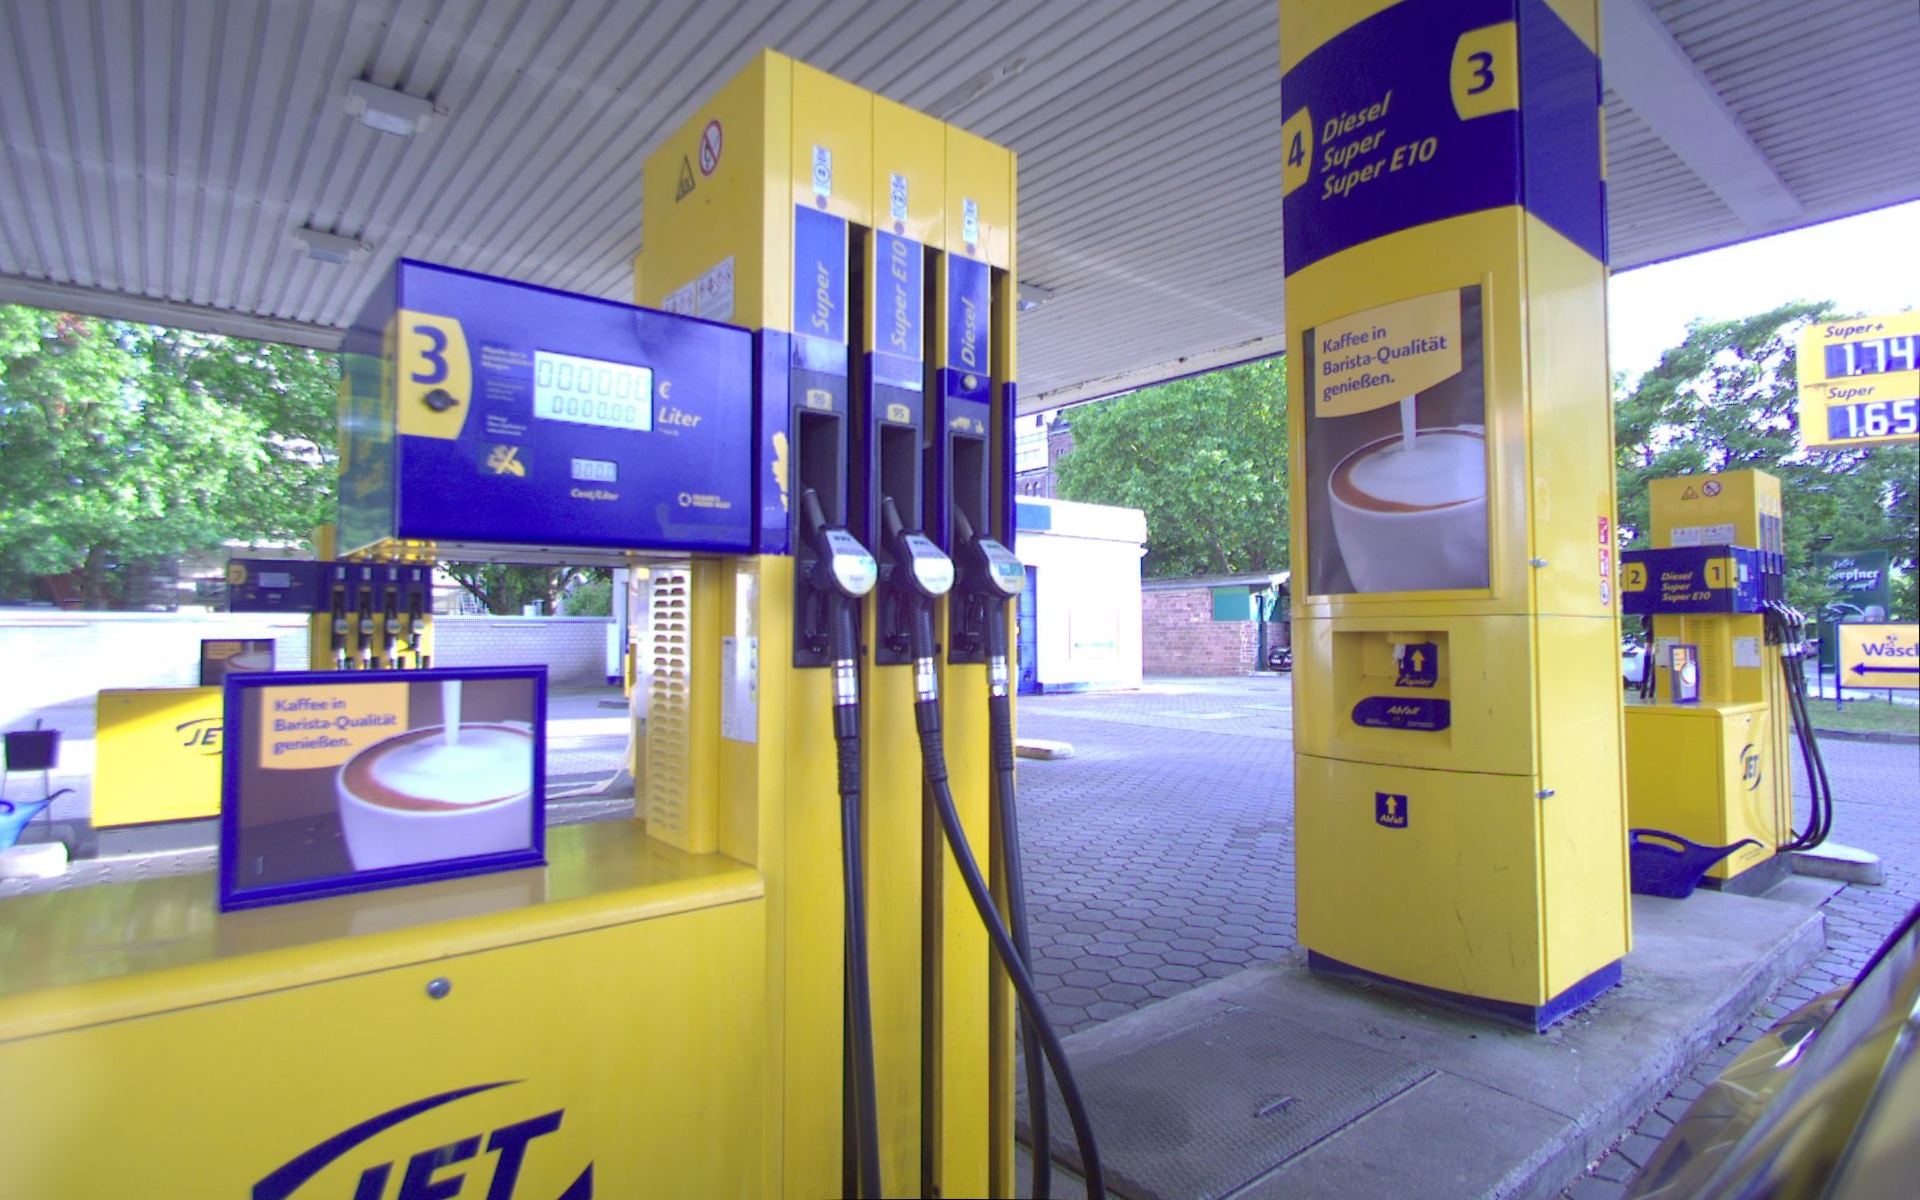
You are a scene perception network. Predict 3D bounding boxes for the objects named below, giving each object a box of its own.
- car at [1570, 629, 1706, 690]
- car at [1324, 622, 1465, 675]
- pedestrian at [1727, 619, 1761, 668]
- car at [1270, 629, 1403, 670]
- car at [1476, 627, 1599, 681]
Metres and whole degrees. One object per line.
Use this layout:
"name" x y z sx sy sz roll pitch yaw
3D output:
"car" 18.225 1.564 27.163 3.923 1.529 1.740 2 -3 -35
"car" 13.793 1.550 32.150 4.134 1.544 1.791 2 -3 -24
"pedestrian" 32.875 1.815 42.458 0.924 2.040 1.204 0 -2 27
"car" 12.834 1.701 34.499 4.134 1.294 1.751 2 -3 -22
"car" 17.560 1.643 30.751 3.923 1.529 1.740 3 -3 -35
